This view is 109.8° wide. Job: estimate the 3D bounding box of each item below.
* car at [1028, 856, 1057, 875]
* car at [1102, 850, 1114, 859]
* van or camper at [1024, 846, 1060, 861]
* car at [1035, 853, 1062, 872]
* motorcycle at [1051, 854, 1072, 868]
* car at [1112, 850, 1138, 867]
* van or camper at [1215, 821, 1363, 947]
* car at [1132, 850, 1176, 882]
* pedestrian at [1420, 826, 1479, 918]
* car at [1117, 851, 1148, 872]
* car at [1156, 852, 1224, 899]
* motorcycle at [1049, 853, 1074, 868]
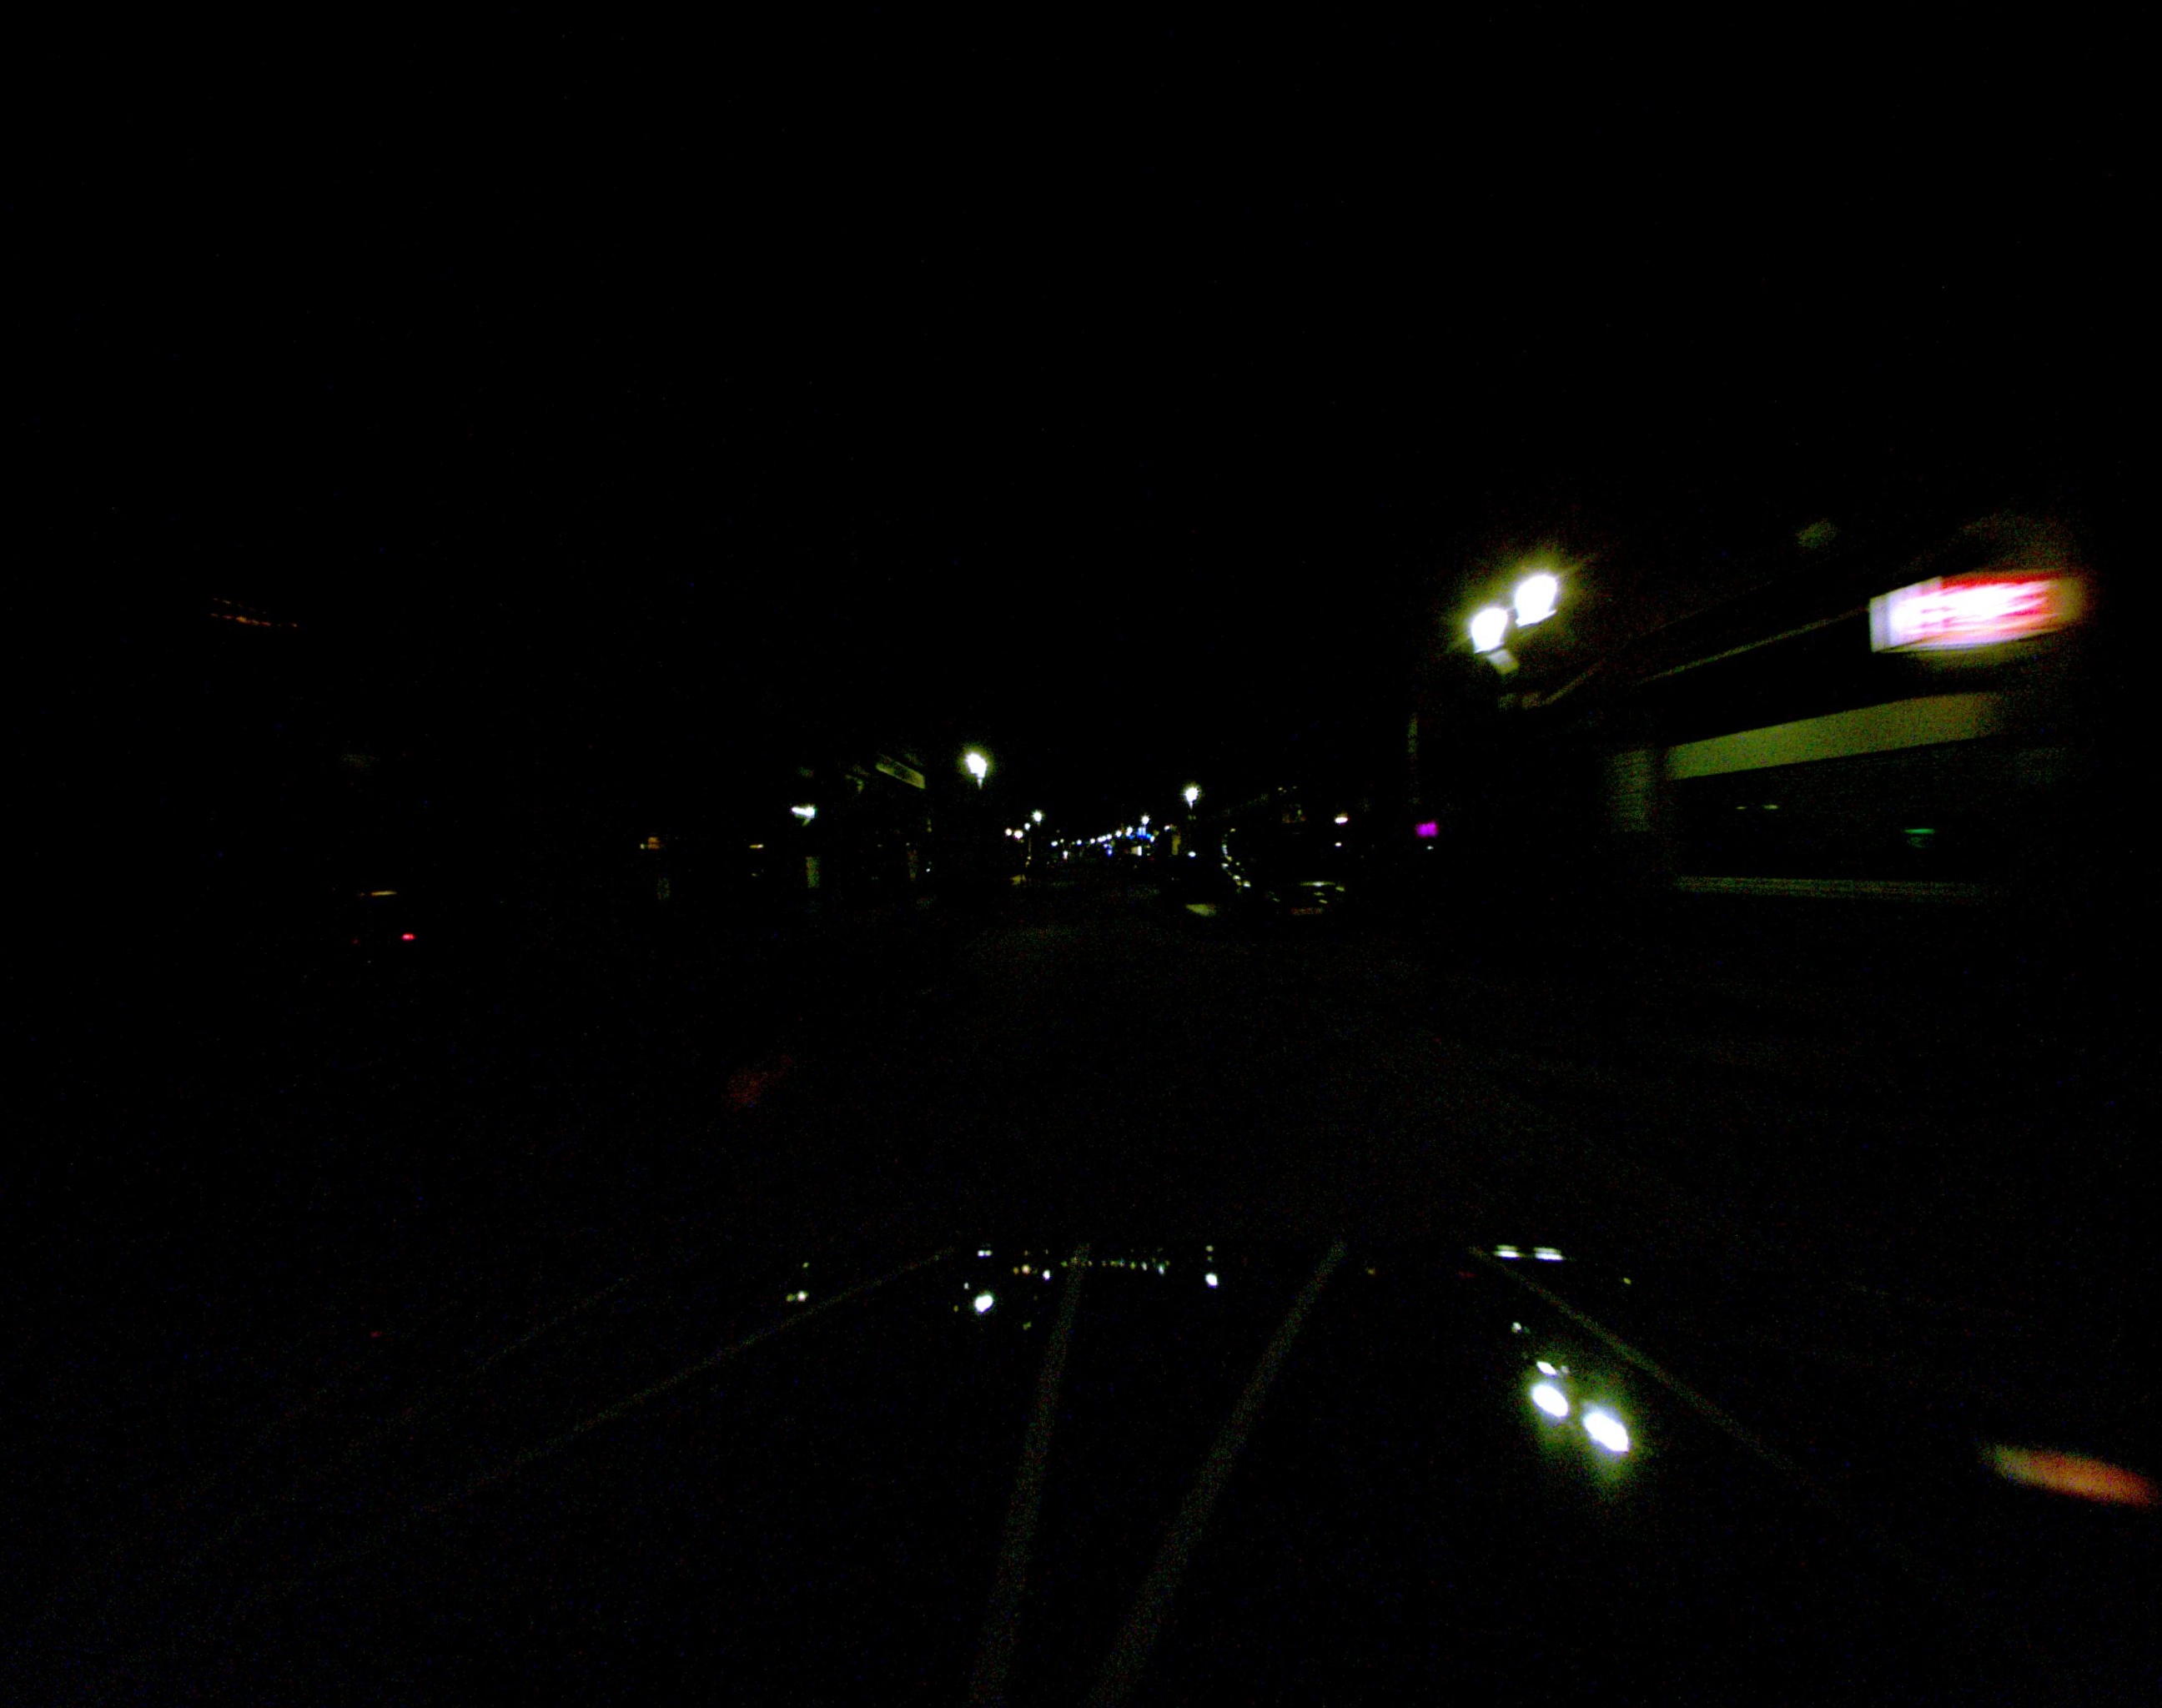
[{"bbox_3d":[-2.836,0.829,56.626,1.665,1.369,4.104,0,0,3],"label":"car"},{"bbox_3d":[4.602,0.061,129.441,1.655,1.417,4.014,-5,0,-1],"label":"car"},{"bbox_3d":[-6.980,-0.068,136.867,6.061,2.518,2.157,-2,0,-31],"label":"van or camper"},{"bbox_3d":[-2.594,0.693,62.002,1.757,1.455,4.467,0,0,3],"label":"car"},{"bbox_3d":[-1.988,0.708,76.697,2.165,1.290,0.516,-1,1,30],"label":"motorcycle"},{"bbox_3d":[4.100,0.369,70.907,1.905,1.462,4.524,-3,0,-2],"label":"car"},{"bbox_3d":[3.767,0.468,14.711,1.850,1.930,5.155,-3,0,6],"label":"van or camper"},{"bbox_3d":[3.804,0.600,40.449,1.802,1.469,4.320,-4,1,0],"label":"car"},{"bbox_3d":[7.303,0.339,15.103,0.622,1.735,1.022,-3,1,1],"label":"pedestrian"},{"bbox_3d":[3.907,0.539,58.665,1.850,1.455,4.622,-4,0,-2],"label":"car"},{"bbox_3d":[3.702,0.695,26.509,1.721,1.404,4.385,-4,0,1],"label":"car"},{"bbox_3d":[-1.896,0.624,73.573,2.266,1.383,0.662,-1,1,25],"label":"motorcycle"}]
